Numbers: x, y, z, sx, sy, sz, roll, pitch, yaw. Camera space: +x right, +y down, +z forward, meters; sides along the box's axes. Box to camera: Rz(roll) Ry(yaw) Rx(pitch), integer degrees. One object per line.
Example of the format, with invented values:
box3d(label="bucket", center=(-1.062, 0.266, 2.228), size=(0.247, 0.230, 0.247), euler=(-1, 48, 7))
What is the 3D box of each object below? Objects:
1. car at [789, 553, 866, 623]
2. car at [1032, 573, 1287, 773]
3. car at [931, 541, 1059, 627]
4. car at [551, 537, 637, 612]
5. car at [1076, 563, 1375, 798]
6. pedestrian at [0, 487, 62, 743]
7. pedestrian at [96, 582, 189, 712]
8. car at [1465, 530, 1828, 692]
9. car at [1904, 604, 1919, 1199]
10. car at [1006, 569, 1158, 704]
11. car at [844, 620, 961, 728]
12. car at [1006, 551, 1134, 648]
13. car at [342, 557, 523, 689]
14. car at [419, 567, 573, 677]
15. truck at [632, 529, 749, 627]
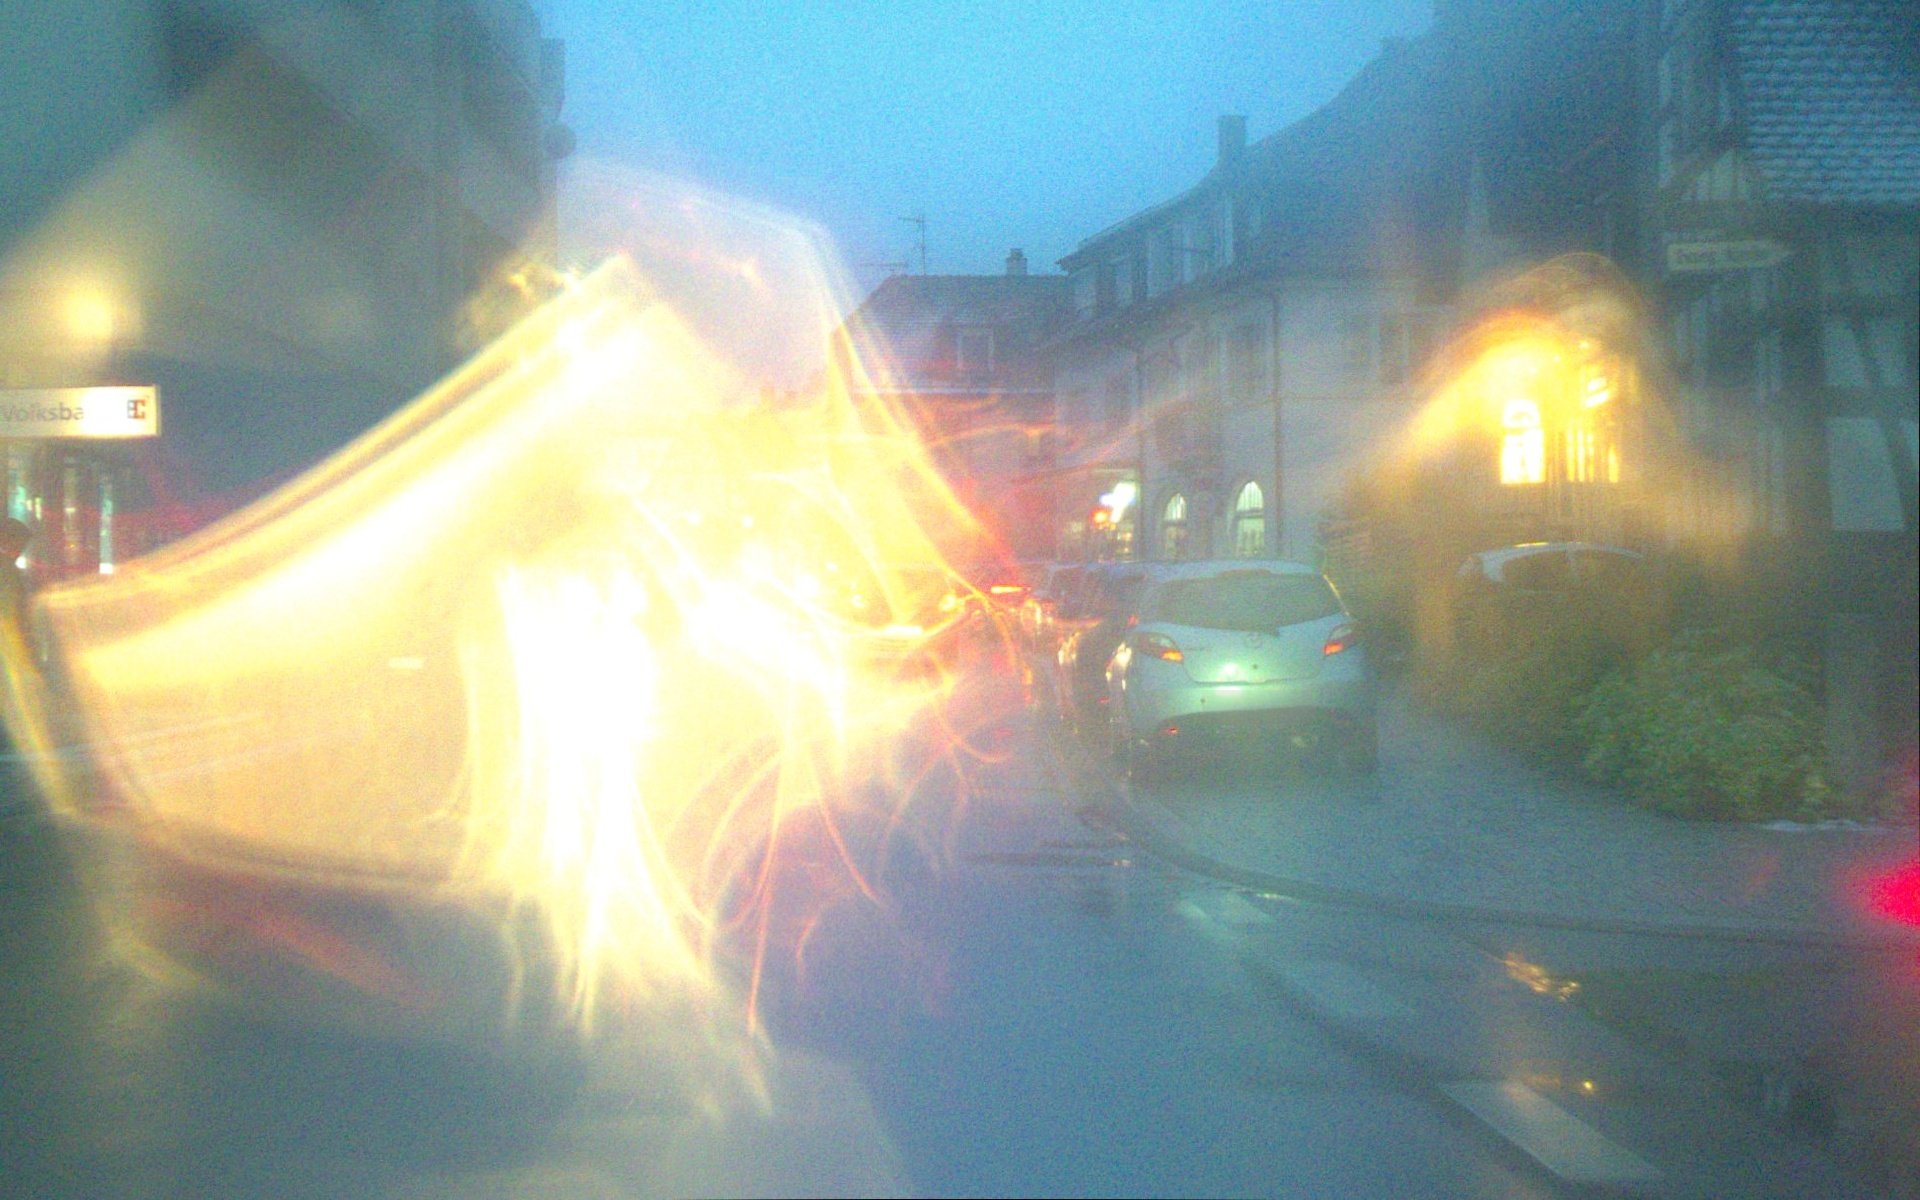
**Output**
box3d(label="car", center=(-2.954, -0.285, 76.587), size=(1.638, 1.476, 3.271), euler=(1, 1, -2))
box3d(label="car", center=(1.638, 0.570, 29.633), size=(1.764, 1.521, 4.390), euler=(-2, 0, -2))
box3d(label="car", center=(0.615, -0.325, 65.093), size=(1.882, 1.541, 4.672), euler=(-1, 1, -6))
box3d(label="car", center=(-8.374, -0.594, 78.441), size=(1.794, 1.637, 3.813), euler=(1, 1, -8))
box3d(label="car", center=(1.788, 0.504, 24.287), size=(1.732, 1.454, 4.000), euler=(-2, 0, 0))
box3d(label="pedestrian", center=(-7.458, 0.103, 26.553), size=(0.973, 1.931, 1.203), euler=(-1, 1, -14))
box3d(label="pedestrian", center=(-8.405, 0.480, 35.371), size=(0.755, 1.306, 0.828), euler=(1, 0, -2))
box3d(label="car", center=(7.007, 0.106, 35.282), size=(3.289, 1.436, 1.686), euler=(-3, 0, -1))
box3d(label="car", center=(3.454, 0.659, 6.019), size=(3.717, 1.442, 1.775), euler=(-3, 2, -43))
box3d(label="car", center=(1.413, 0.390, 40.098), size=(1.626, 1.436, 3.799), euler=(-2, 0, 2))
box3d(label="car", center=(-0.843, 1.061, 50.713), size=(1.638, 1.476, 3.379), euler=(1, 0, -1))
box3d(label="car", center=(1.754, -0.032, 56.306), size=(1.794, 1.455, 4.531), euler=(-2, 1, -1))
box3d(label="car", center=(-6.549, 0.255, 43.032), size=(1.615, 1.527, 3.928), euler=(1, 1, 0))
box3d(label="car", center=(-6.538, 0.278, 48.809), size=(1.675, 1.441, 4.428), euler=(1, 1, -2))
box3d(label="truck", center=(-9.078, -0.754, 115.104), size=(3.014, 3.118, 8.002), euler=(1, 1, -11))
